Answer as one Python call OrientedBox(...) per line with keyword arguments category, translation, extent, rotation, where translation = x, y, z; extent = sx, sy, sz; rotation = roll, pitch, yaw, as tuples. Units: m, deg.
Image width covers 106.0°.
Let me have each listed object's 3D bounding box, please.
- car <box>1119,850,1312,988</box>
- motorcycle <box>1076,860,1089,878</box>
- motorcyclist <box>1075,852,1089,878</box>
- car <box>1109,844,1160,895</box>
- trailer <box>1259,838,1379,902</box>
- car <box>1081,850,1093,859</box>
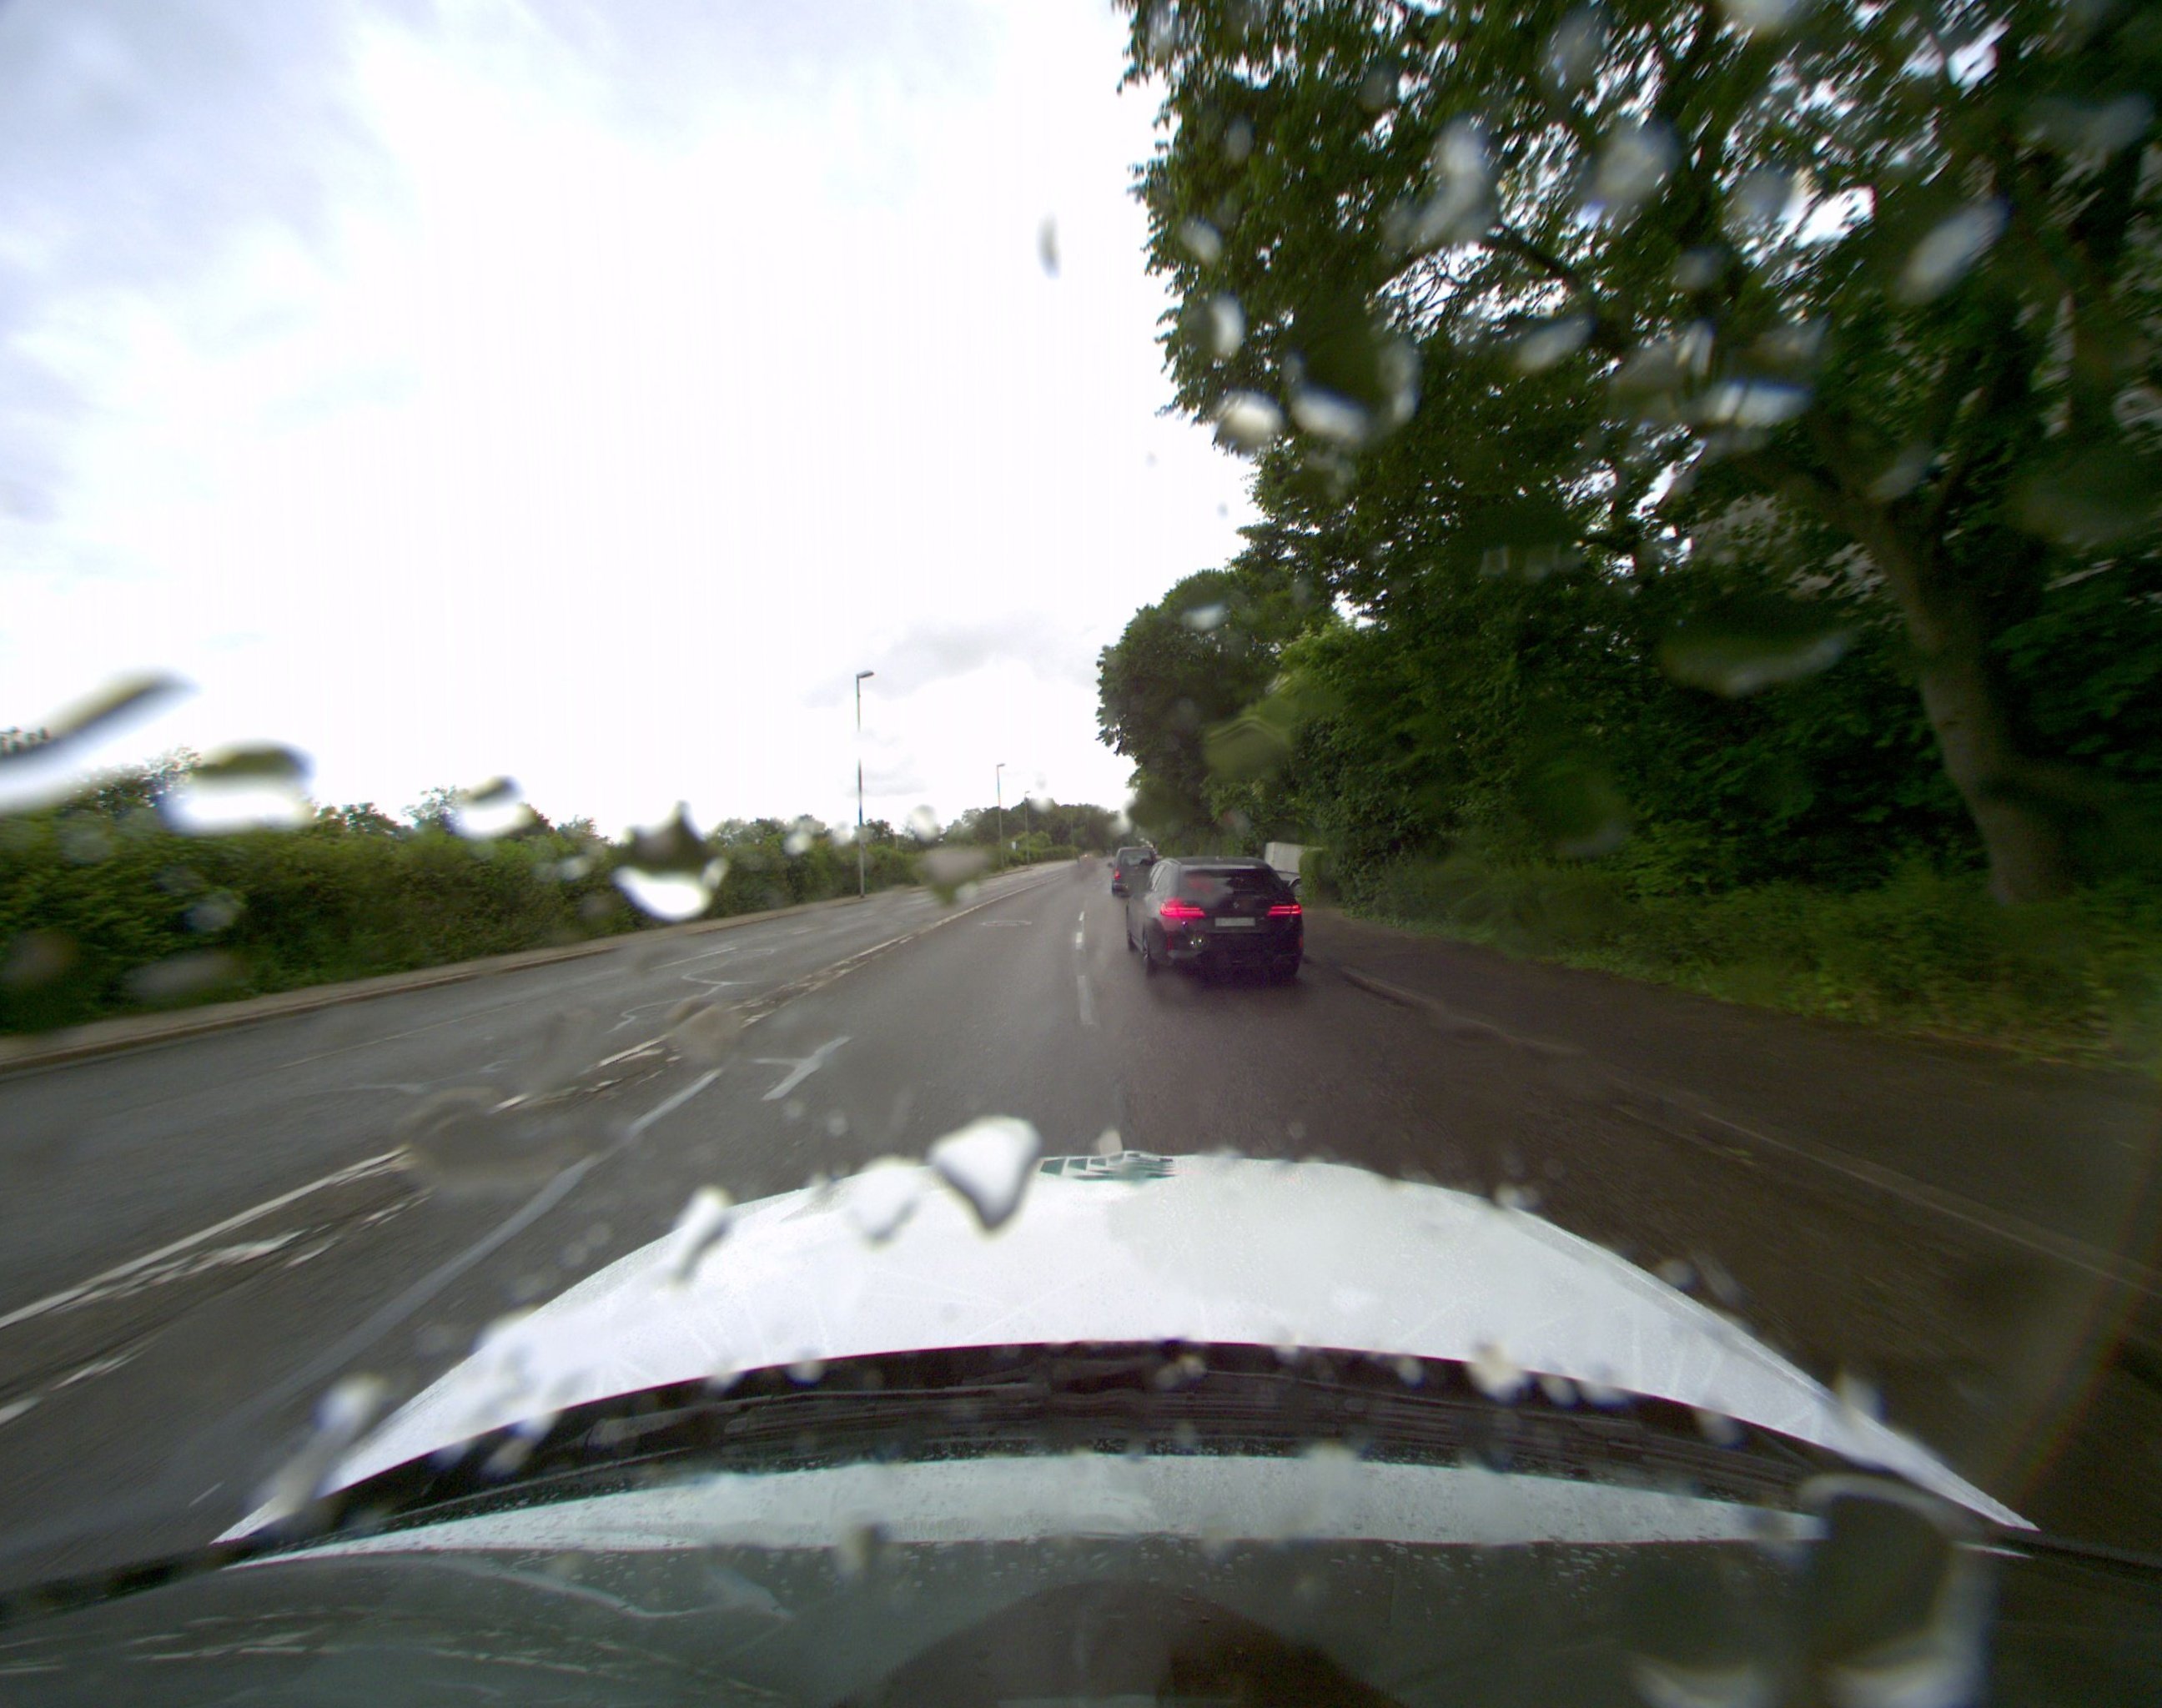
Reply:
OrientedBox(category="car", translation=(1.603, 0.730, 10.983), extent=(1.761, 1.536, 3.667), rotation=(0, 0, -5))
OrientedBox(category="motorcycle", translation=(0.091, 1.003, 54.669), extent=(0.738, 1.119, 1.428), rotation=(-1, 1, 4))
OrientedBox(category="motorcyclist", translation=(0.087, 0.728, 54.564), extent=(0.841, 1.647, 0.468), rotation=(-2, 1, 4))
OrientedBox(category="car", translation=(2.016, 0.543, 31.406), extent=(1.760, 1.810, 3.906), rotation=(-1, 1, 1))
OrientedBox(category="trailer", translation=(7.507, 0.495, 25.874), extent=(3.336, 1.647, 1.199), rotation=(6, 0, 1))
OrientedBox(category="car", translation=(1.169, 0.148, 155.599), extent=(1.747, 1.662, 3.845), rotation=(-1, 1, -8))
